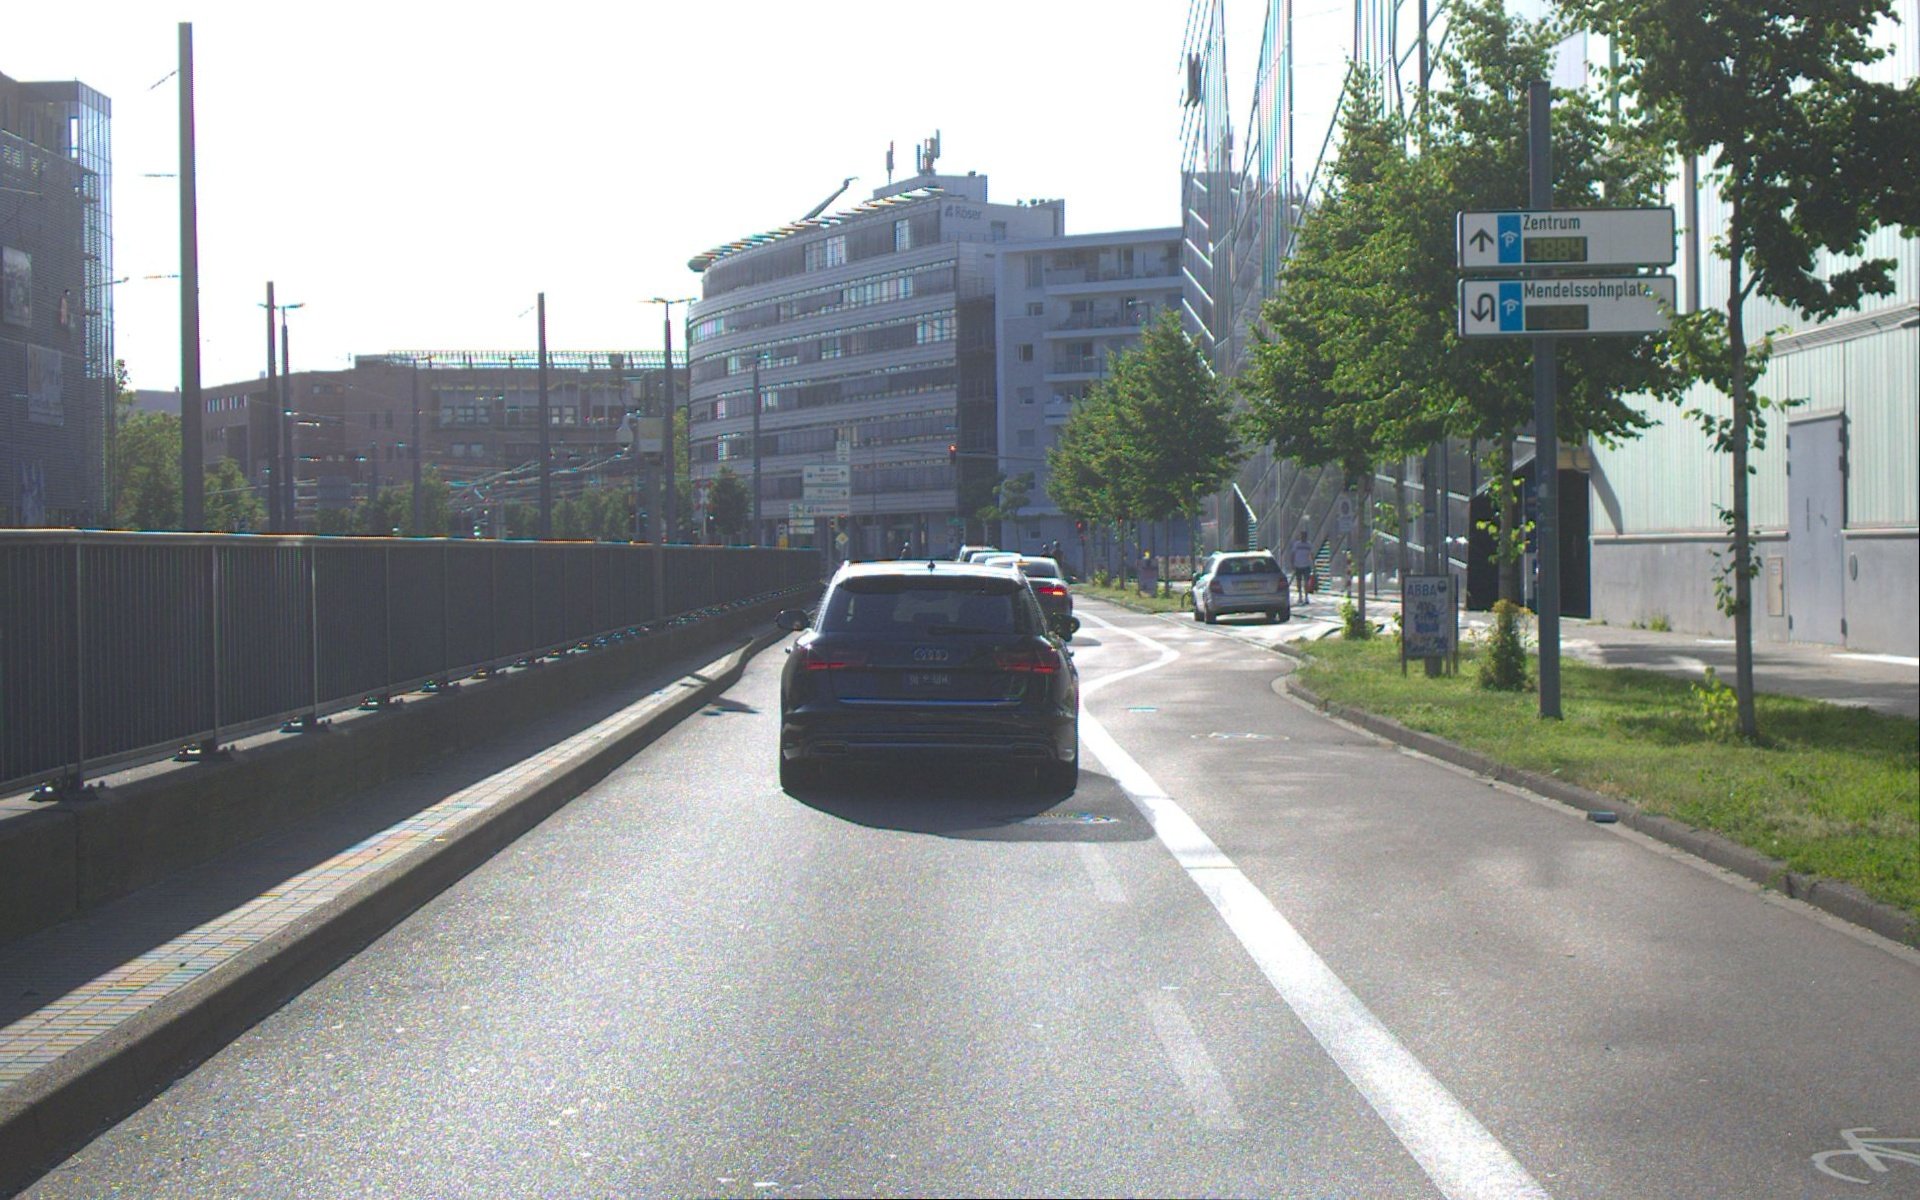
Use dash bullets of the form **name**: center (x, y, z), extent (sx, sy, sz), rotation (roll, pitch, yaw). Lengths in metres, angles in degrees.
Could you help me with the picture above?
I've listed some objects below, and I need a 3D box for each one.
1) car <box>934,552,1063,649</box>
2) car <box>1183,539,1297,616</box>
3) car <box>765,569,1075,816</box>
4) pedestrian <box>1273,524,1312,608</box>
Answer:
- **car**: center (0.619, -0.024, 58.544), extent (1.852, 1.541, 4.001), rotation (1, 1, -4)
- **car**: center (5.848, -0.500, 72.326), extent (1.852, 1.476, 4.854), rotation (-2, 1, -1)
- **car**: center (-0.284, 0.522, 22.614), extent (1.812, 1.422, 4.690), rotation (-1, 1, -1)
- **pedestrian**: center (8.101, -0.827, 83.856), extent (0.836, 2.007, 0.689), rotation (-2, 1, 0)
